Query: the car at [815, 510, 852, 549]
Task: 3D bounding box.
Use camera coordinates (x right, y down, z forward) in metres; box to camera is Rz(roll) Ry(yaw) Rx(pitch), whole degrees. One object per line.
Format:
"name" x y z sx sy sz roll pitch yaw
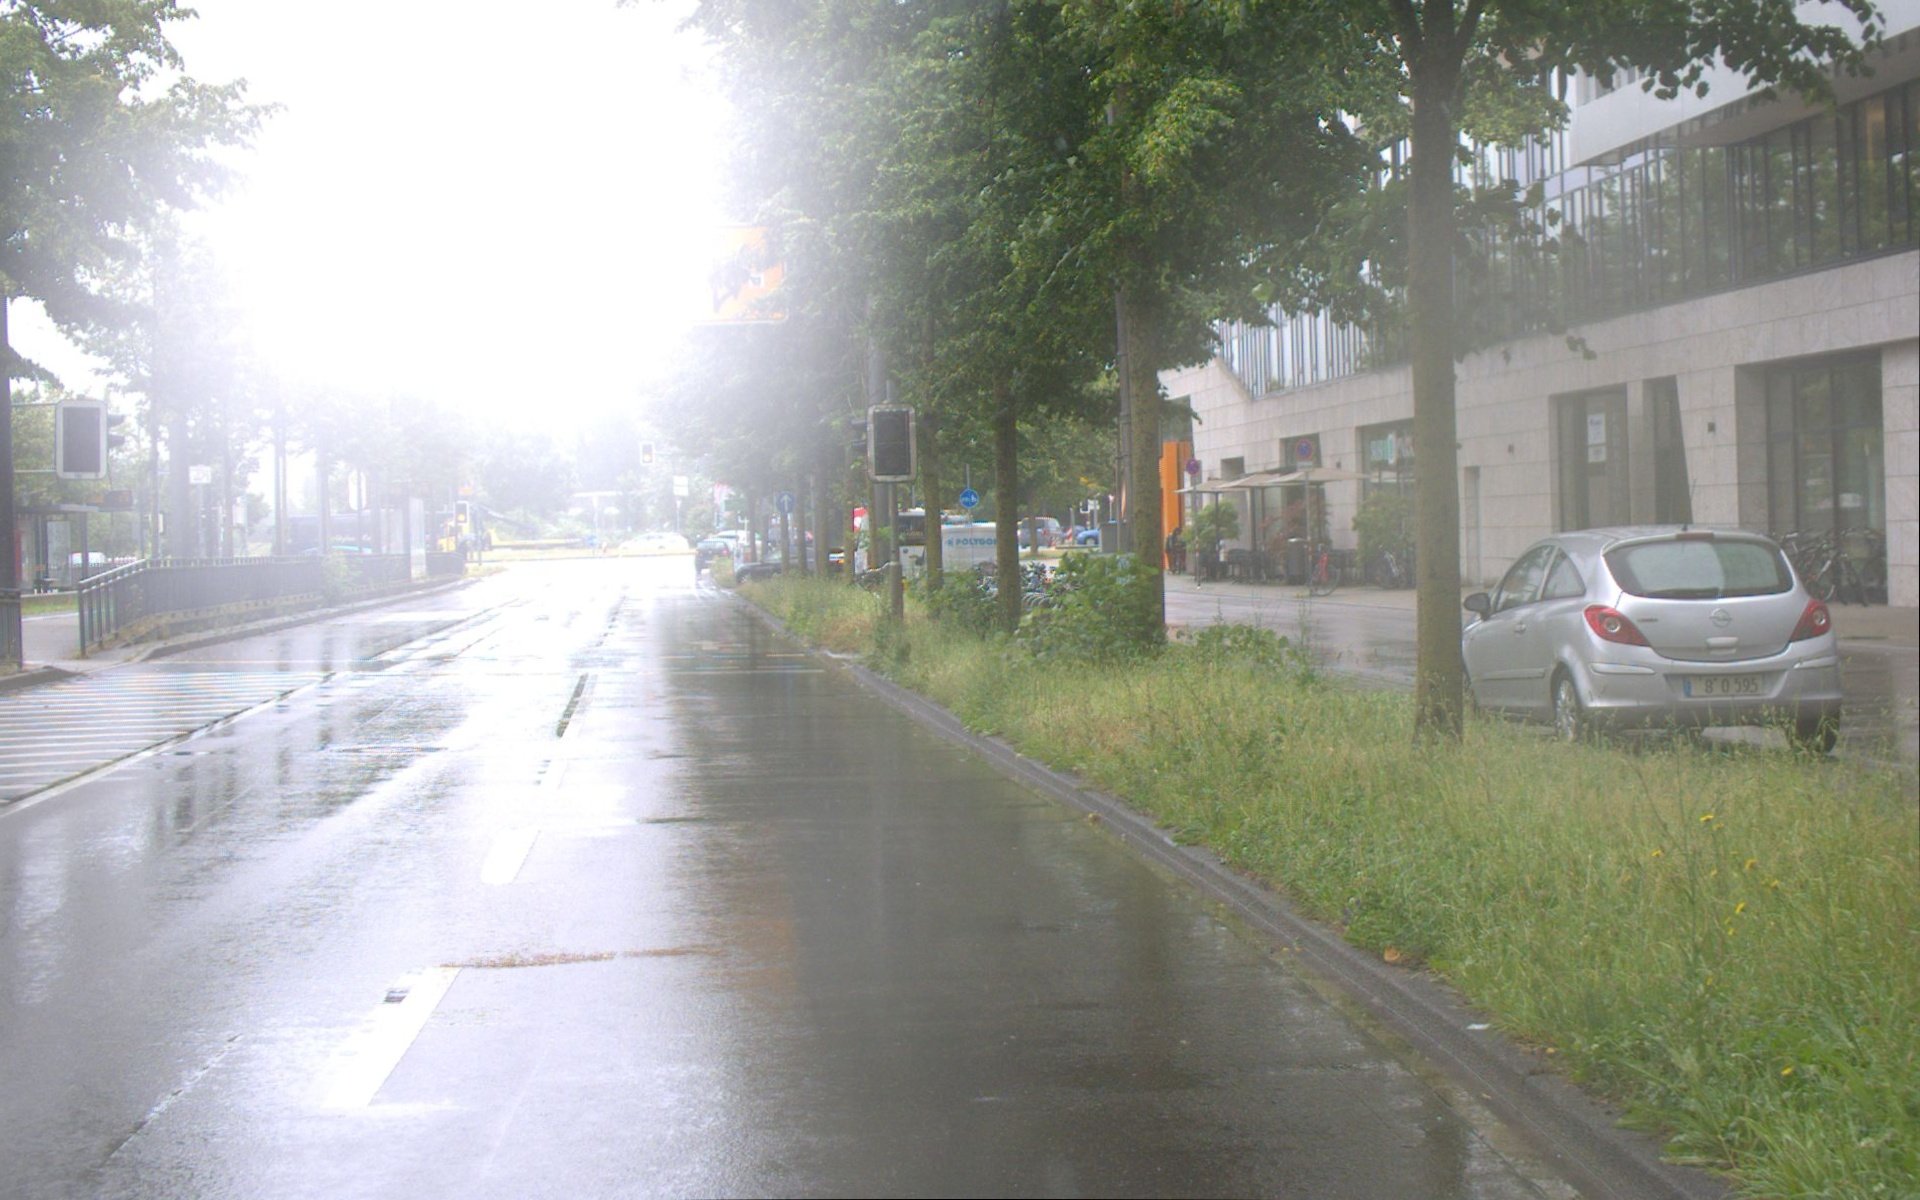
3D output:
"car" -7.260 -4.041 196.963 1.993 2.006 4.001 -2 3 -4

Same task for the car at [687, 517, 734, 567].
"car" -10.893 -2.540 149.869 1.940 2.006 4.001 -2 3 -5

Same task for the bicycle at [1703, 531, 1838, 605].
"bicycle" 11.782 -0.460 49.973 1.806 1.025 0.541 -1 1 -2

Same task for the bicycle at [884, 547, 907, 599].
"bicycle" -1.077 -0.457 57.191 0.274 0.846 1.293 -2 1 -5

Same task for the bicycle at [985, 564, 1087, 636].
"bicycle" 1.114 0.003 50.357 1.452 1.014 0.349 -1 1 -1

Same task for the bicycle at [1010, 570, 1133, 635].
"bicycle" 1.547 0.028 47.655 1.672 0.846 0.275 -2 1 -1

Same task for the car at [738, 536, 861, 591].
"car" -4.988 -1.156 106.615 1.816 1.539 3.999 -4 4 -37

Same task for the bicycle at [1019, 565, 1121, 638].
"bicycle" 1.588 0.018 49.567 1.439 1.014 0.349 -1 1 2

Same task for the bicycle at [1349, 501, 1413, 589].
"bicycle" 8.891 -1.190 72.748 0.644 1.716 3.121 -2 3 -5

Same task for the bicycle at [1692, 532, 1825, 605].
"bicycle" 11.754 -0.470 50.622 1.806 1.025 0.541 -1 1 -2

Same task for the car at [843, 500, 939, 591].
"car" -1.831 -1.427 89.846 2.121 2.266 4.565 -2 1 -5

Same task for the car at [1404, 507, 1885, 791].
"car" 4.395 0.228 22.856 1.881 1.500 4.725 -2 3 -5

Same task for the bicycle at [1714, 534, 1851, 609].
"bicycle" 11.806 -0.413 49.367 1.806 1.025 0.541 -1 1 -2

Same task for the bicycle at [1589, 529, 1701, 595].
"bicycle" 11.015 -0.610 55.330 1.693 1.025 0.423 -1 1 -2

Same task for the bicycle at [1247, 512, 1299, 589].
"bicycle" 7.535 -1.204 82.837 0.644 1.716 3.121 -2 3 -5

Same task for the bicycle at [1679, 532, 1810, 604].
"bicycle" 11.719 -0.481 51.377 1.806 1.025 0.541 -1 1 -2

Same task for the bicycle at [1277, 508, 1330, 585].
"bicycle" 8.272 -1.320 82.980 0.644 1.716 3.121 -2 3 -5

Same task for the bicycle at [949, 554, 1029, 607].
"bicycle" 0.487 -0.333 57.510 1.288 0.846 0.275 -2 1 -5

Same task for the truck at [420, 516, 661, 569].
"truck" -26.441 -3.607 216.640 14.854 3.136 3.524 -1 1 -11

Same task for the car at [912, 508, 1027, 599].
"car" 0.161 -0.978 71.346 1.906 1.785 4.689 -2 1 -5

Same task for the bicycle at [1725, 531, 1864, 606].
"bicycle" 11.832 -0.449 48.757 1.806 1.025 0.541 -1 1 -2

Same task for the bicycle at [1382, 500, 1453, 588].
"bicycle" 9.671 -1.212 72.823 0.772 1.716 3.121 -2 3 -5

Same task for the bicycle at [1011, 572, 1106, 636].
"bicycle" 1.373 0.055 47.966 1.288 0.846 0.275 -2 1 0

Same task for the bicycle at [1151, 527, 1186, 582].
"bicycle" 6.370 -1.396 105.136 0.666 1.529 2.765 -2 3 -5

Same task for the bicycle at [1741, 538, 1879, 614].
"bicycle" 11.865 -0.336 47.994 1.806 1.025 0.401 -1 1 -2
